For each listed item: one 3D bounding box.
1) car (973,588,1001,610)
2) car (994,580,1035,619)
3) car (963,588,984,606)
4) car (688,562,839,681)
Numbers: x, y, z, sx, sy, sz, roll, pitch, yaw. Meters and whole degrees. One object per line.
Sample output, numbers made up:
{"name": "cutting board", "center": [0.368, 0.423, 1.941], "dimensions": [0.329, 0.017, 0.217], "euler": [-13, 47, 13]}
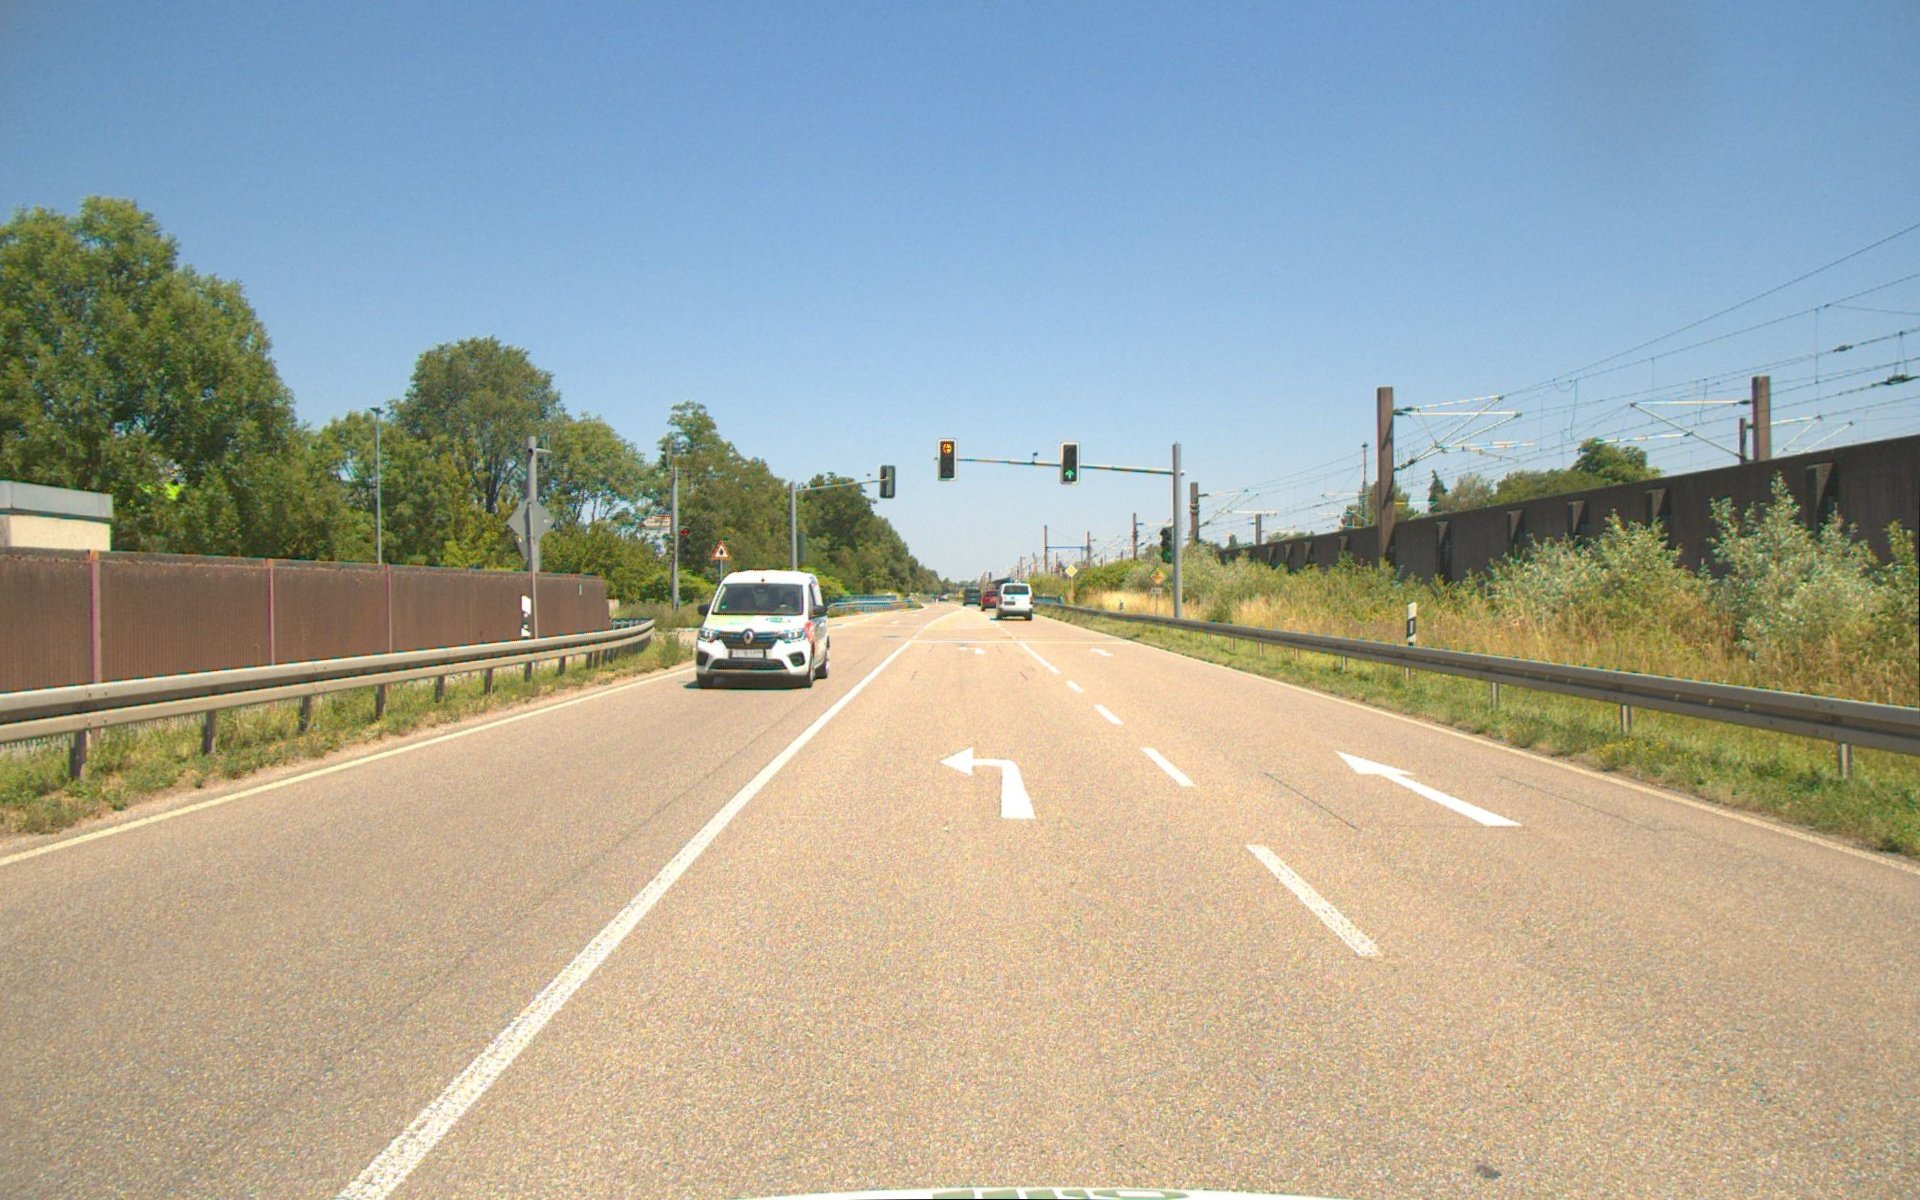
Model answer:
{"name": "car", "center": [2.135, -0.088, 130.175], "dimensions": [1.979, 1.756, 4.541], "euler": [0, 0, -2]}
{"name": "car", "center": [2.929, -0.021, 89.136], "dimensions": [1.953, 2.018, 4.059], "euler": [1, 0, -1]}
{"name": "car", "center": [1.484, -0.309, 185.813], "dimensions": [2.111, 2.002, 4.541], "euler": [0, 0, -2]}
{"name": "car", "center": [-3.106, 0.310, 27.066], "dimensions": [1.848, 1.770, 4.777], "euler": [0, 0, 0]}
